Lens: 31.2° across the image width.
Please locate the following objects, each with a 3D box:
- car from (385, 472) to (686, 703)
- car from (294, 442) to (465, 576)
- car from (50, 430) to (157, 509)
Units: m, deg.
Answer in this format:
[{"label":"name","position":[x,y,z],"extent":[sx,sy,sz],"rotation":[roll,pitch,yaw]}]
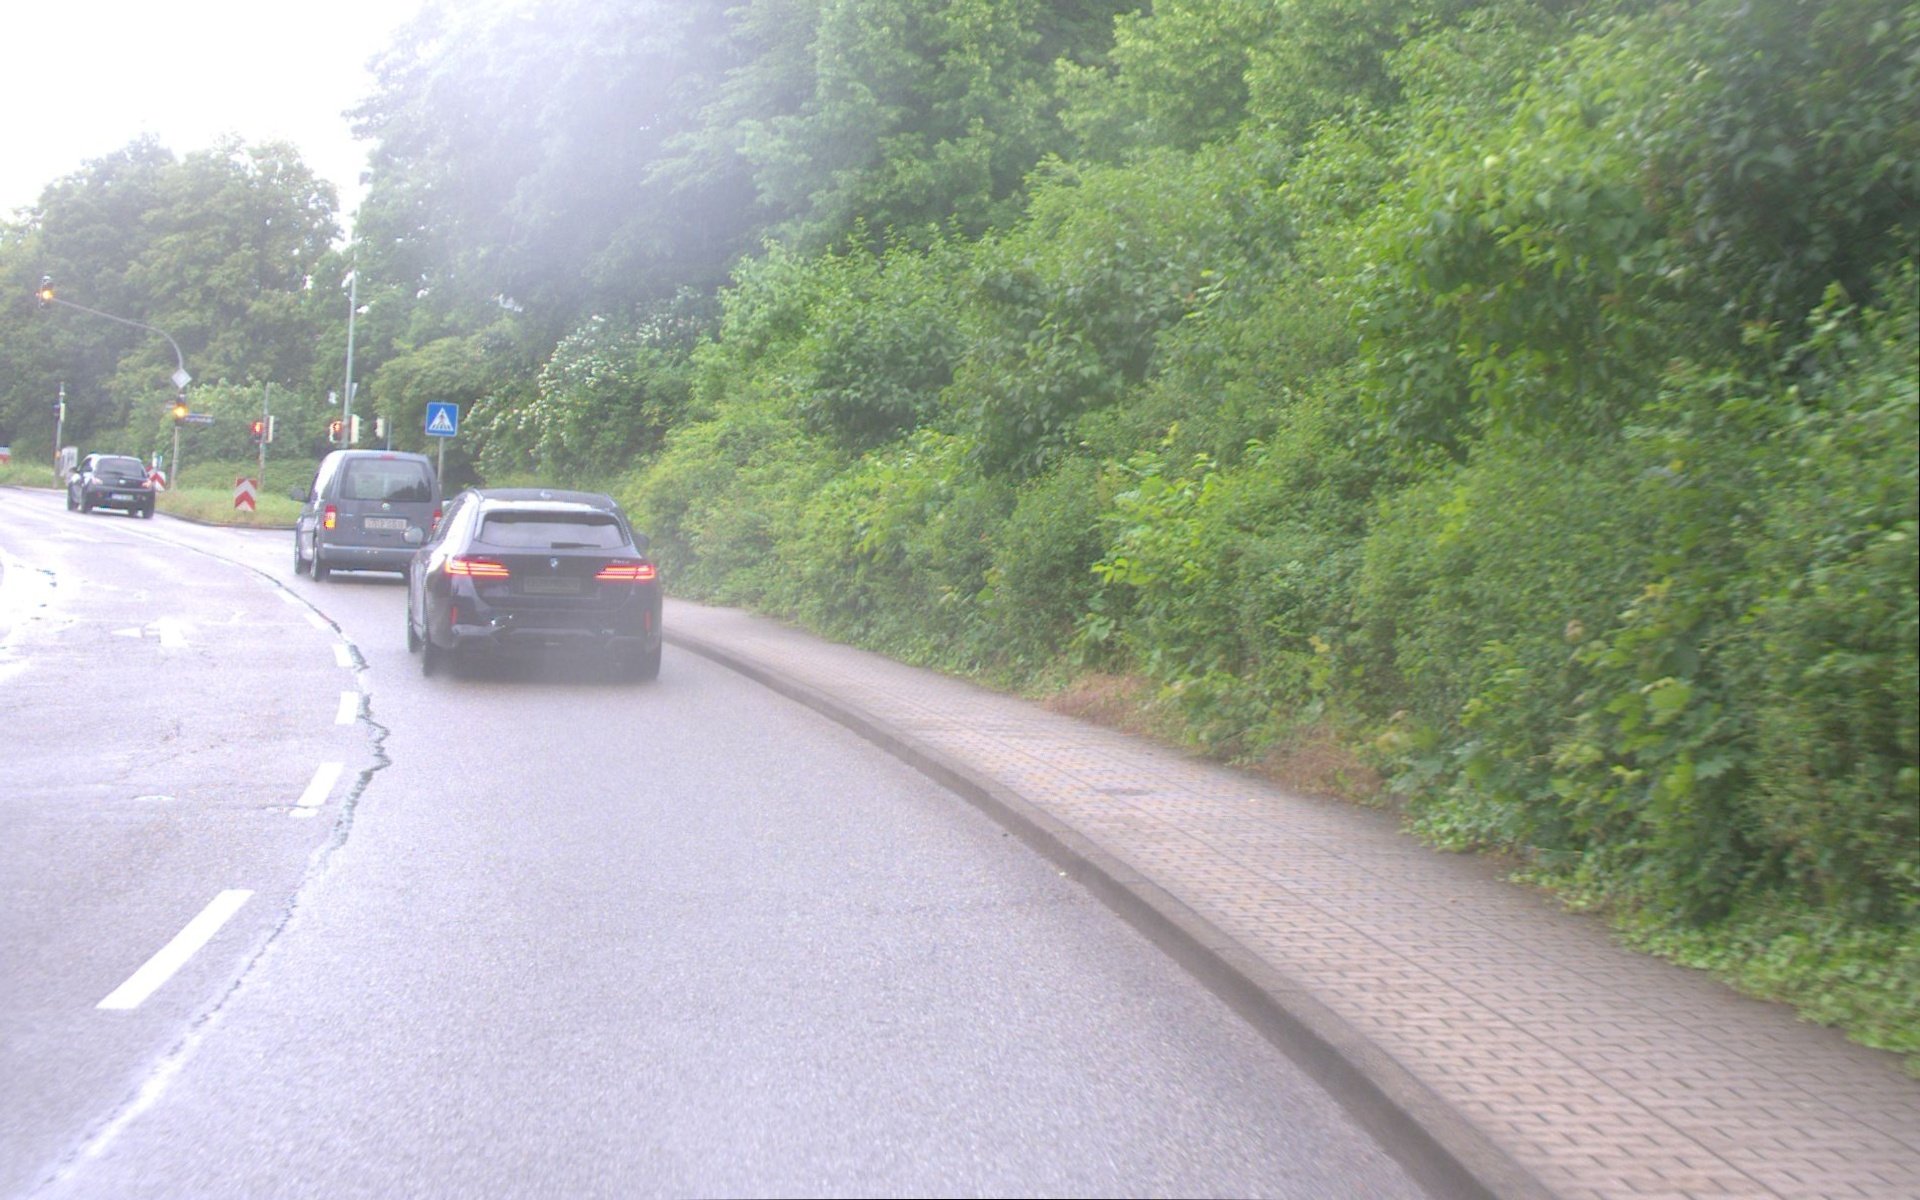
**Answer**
[{"label":"car","position":[-3.619,-0.170,28.555],"extent":[1.993,1.580,4.665],"rotation":[2,3,-12]},{"label":"car","position":[-8.160,-1.277,48.079],"extent":[1.993,1.742,4.002],"rotation":[1,1,-14]},{"label":"car","position":[-20.934,-3.163,83.924],"extent":[1.851,1.656,4.001],"rotation":[3,-2,-23]}]
